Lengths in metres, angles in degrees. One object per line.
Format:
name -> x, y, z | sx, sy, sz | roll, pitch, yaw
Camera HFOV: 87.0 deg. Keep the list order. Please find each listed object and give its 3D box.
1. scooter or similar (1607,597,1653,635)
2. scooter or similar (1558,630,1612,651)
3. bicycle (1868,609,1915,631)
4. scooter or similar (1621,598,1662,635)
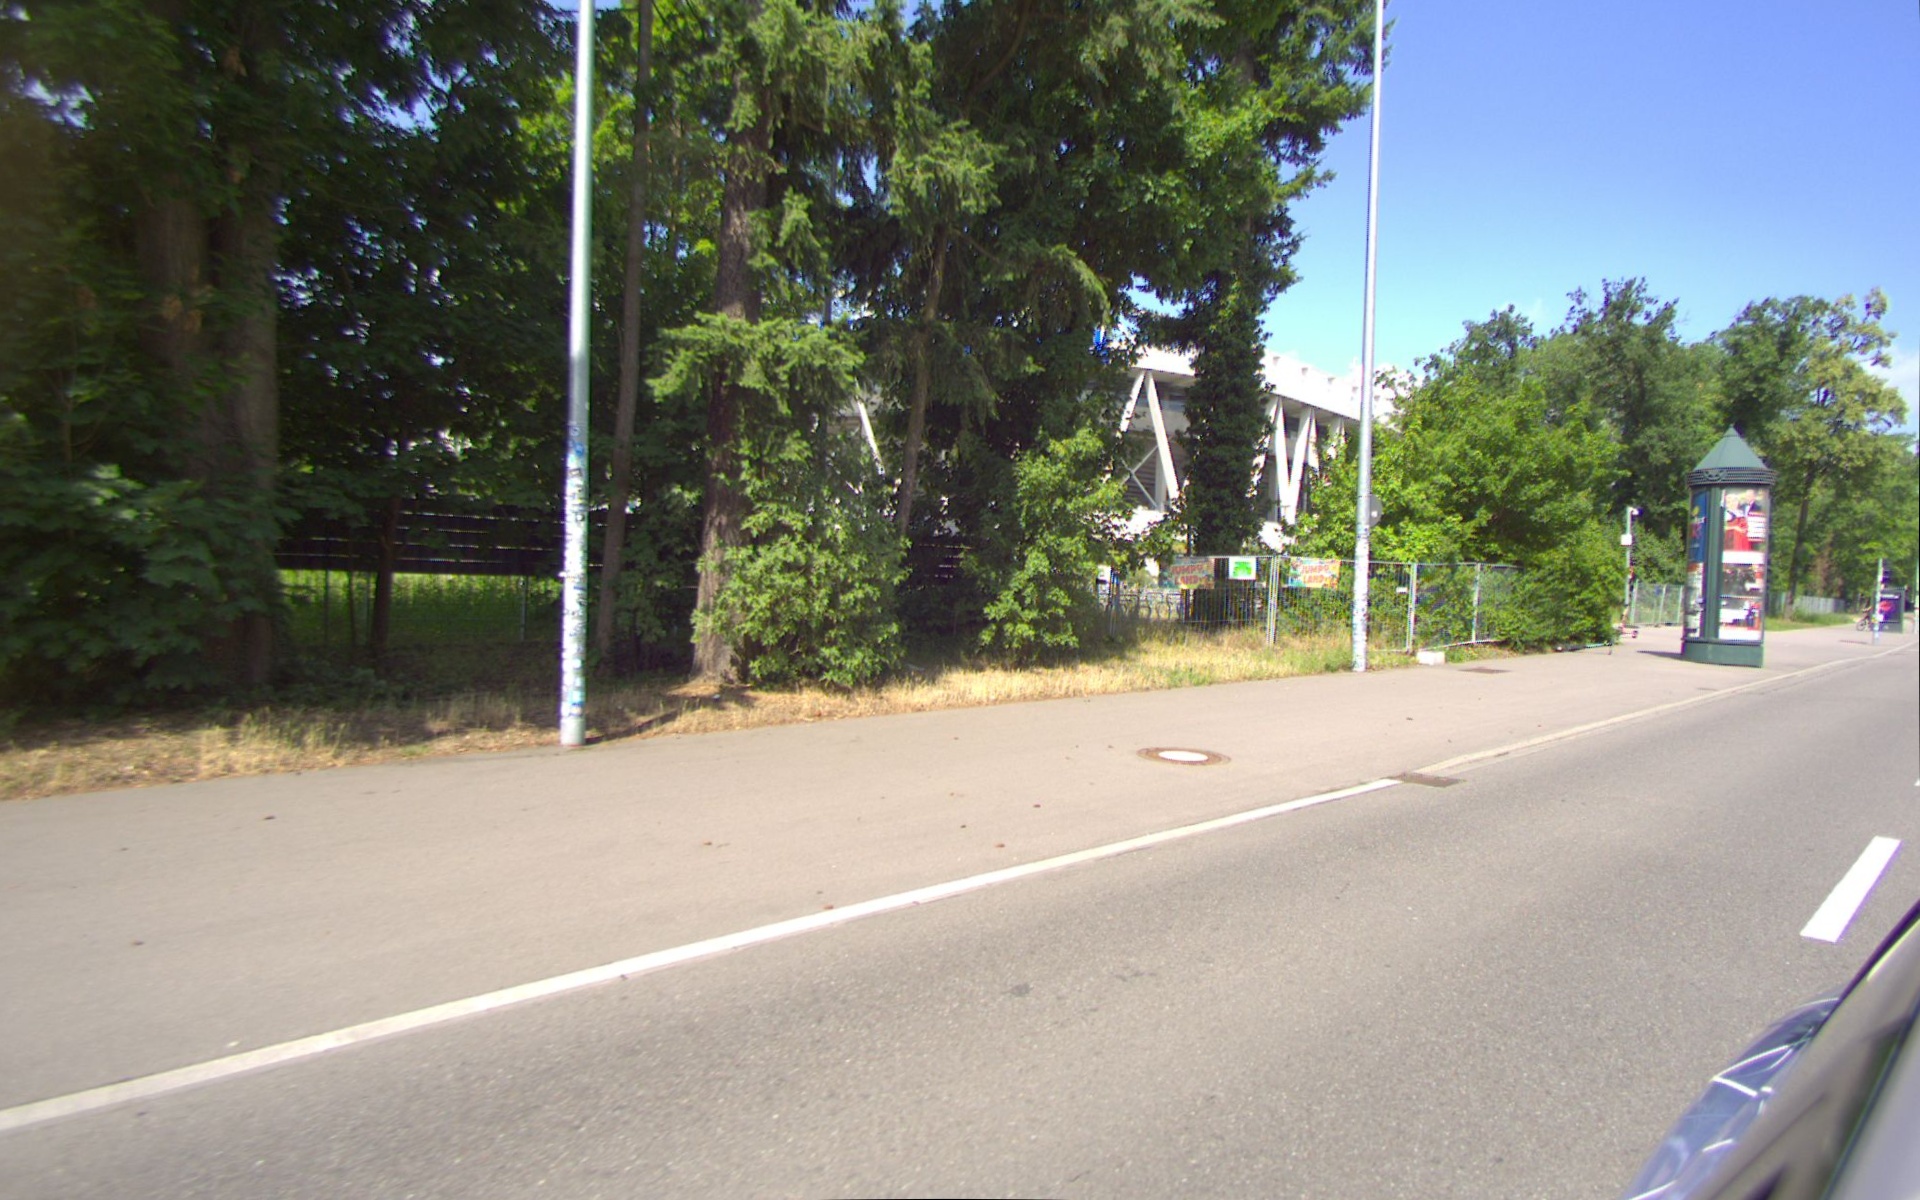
scooter or similar -> 23.931, 0.563, 36.165 | 1.306, 1.267, 0.401 | 3, 2, 41
scooter or similar -> 15.896, 1.021, 25.728 | 1.450, 0.393, 0.854 | -1, 4, -45
bicycle -> 53.398, 1.120, 58.020 | 1.862, 1.221, 0.883 | 1, 0, 1
scooter or similar -> 24.123, 0.582, 35.841 | 1.284, 1.215, 0.408 | 2, 1, -16
